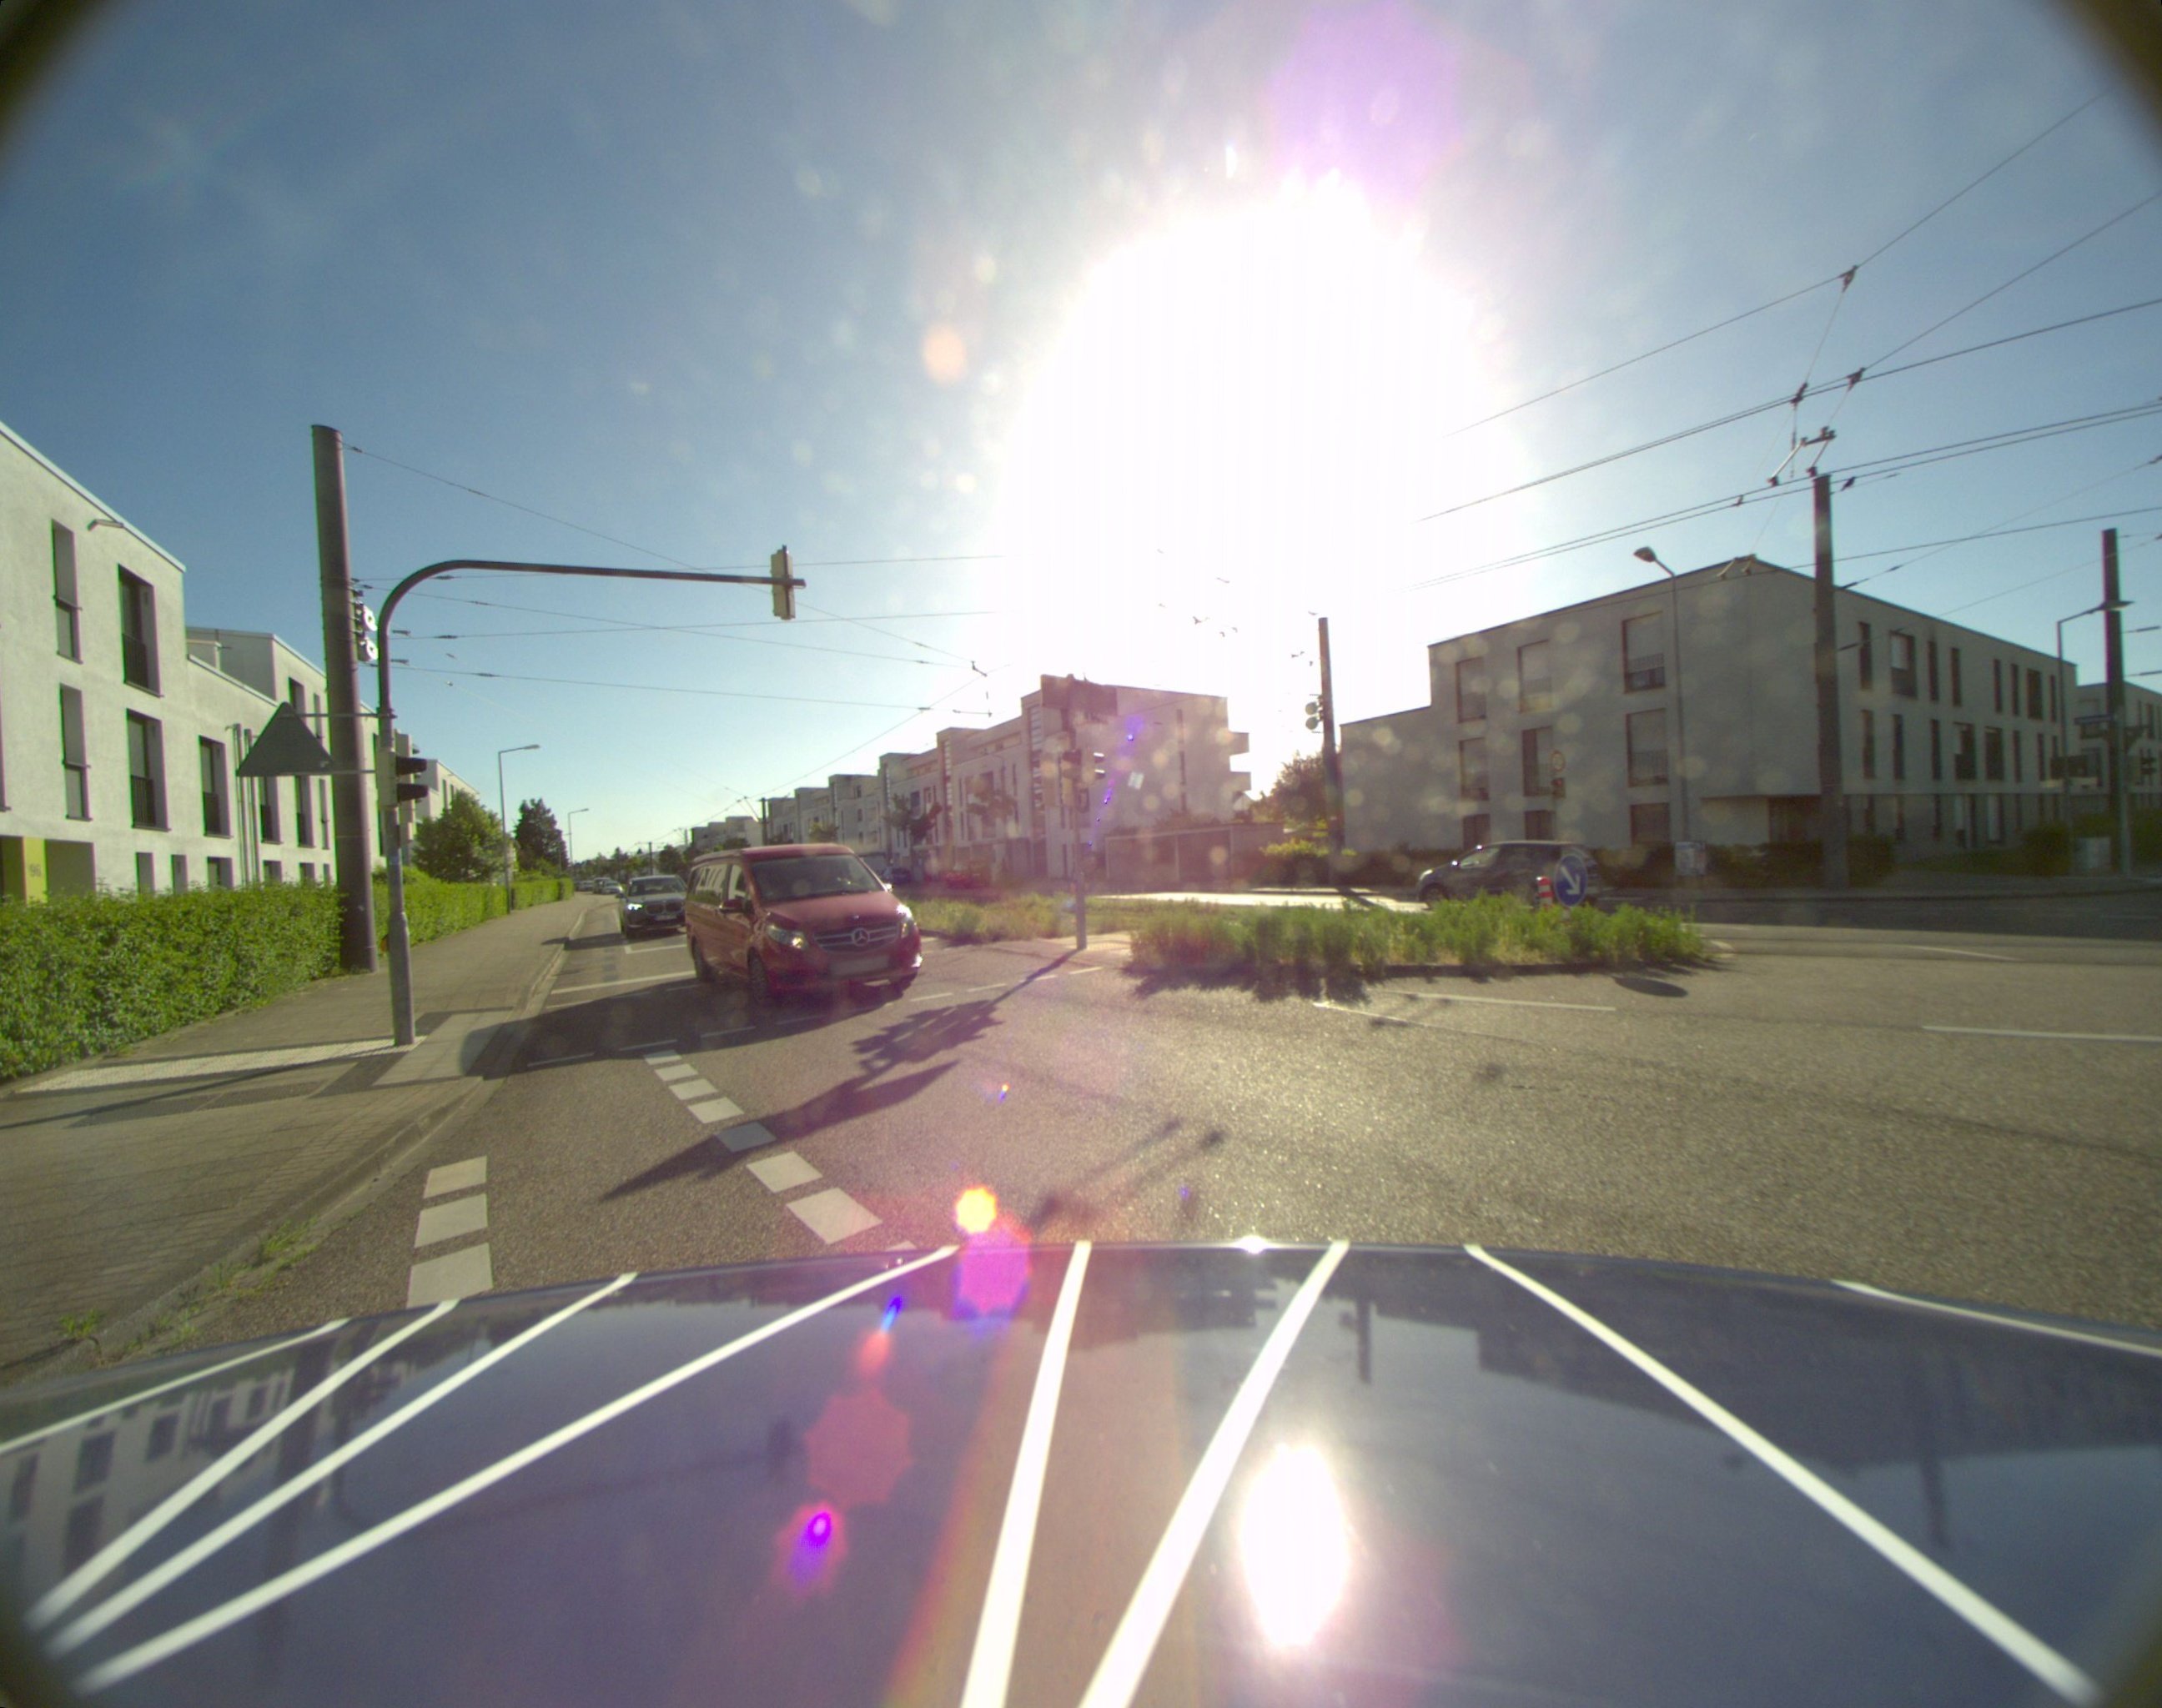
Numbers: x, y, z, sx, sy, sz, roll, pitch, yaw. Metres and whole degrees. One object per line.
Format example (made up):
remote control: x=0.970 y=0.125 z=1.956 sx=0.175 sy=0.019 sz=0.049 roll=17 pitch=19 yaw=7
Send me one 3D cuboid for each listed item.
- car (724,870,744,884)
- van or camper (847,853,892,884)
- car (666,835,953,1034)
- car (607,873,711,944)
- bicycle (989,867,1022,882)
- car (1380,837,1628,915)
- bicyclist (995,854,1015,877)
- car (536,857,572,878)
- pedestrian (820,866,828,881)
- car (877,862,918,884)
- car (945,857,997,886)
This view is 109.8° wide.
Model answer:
car: x=-52.509 y=3.517 z=115.011 sx=1.791 sy=2.002 sz=3.990 roll=-6 pitch=2 yaw=-36
van or camper: x=-18.168 y=1.274 z=65.064 sx=2.202 sy=2.450 sz=5.248 roll=-3 pitch=0 yaw=-33
car: x=-4.015 y=0.917 z=10.533 sx=2.132 sy=1.958 sz=5.071 roll=-6 pitch=1 yaw=-38
car: x=-12.216 y=1.454 z=21.859 sx=2.003 sy=1.663 sz=4.397 roll=-5 pitch=2 yaw=-36
bicycle: x=-4.887 y=1.332 z=48.955 sx=0.904 sy=0.887 sz=2.477 roll=-3 pitch=0 yaw=-38
car: x=9.099 y=0.467 z=16.754 sx=1.703 sy=1.448 sz=4.442 roll=-3 pitch=0 yaw=-34
bicyclist: x=-4.894 y=0.738 z=48.922 sx=0.893 sy=1.482 sz=0.744 roll=-3 pitch=1 yaw=-38
car: x=-68.334 y=1.756 z=98.651 sx=3.189 sy=2.333 sz=6.161 roll=-5 pitch=2 yaw=-31
pedestrian: x=-29.115 y=2.234 z=86.120 sx=0.620 sy=1.634 sz=0.611 roll=-6 pitch=2 yaw=-39
car: x=-14.340 y=1.499 z=59.316 sx=1.939 sy=1.603 sz=3.827 roll=-3 pitch=0 yaw=-32
car: x=-6.972 y=1.097 z=47.969 sx=1.798 sy=1.713 sz=3.899 roll=-2 pitch=0 yaw=-31
